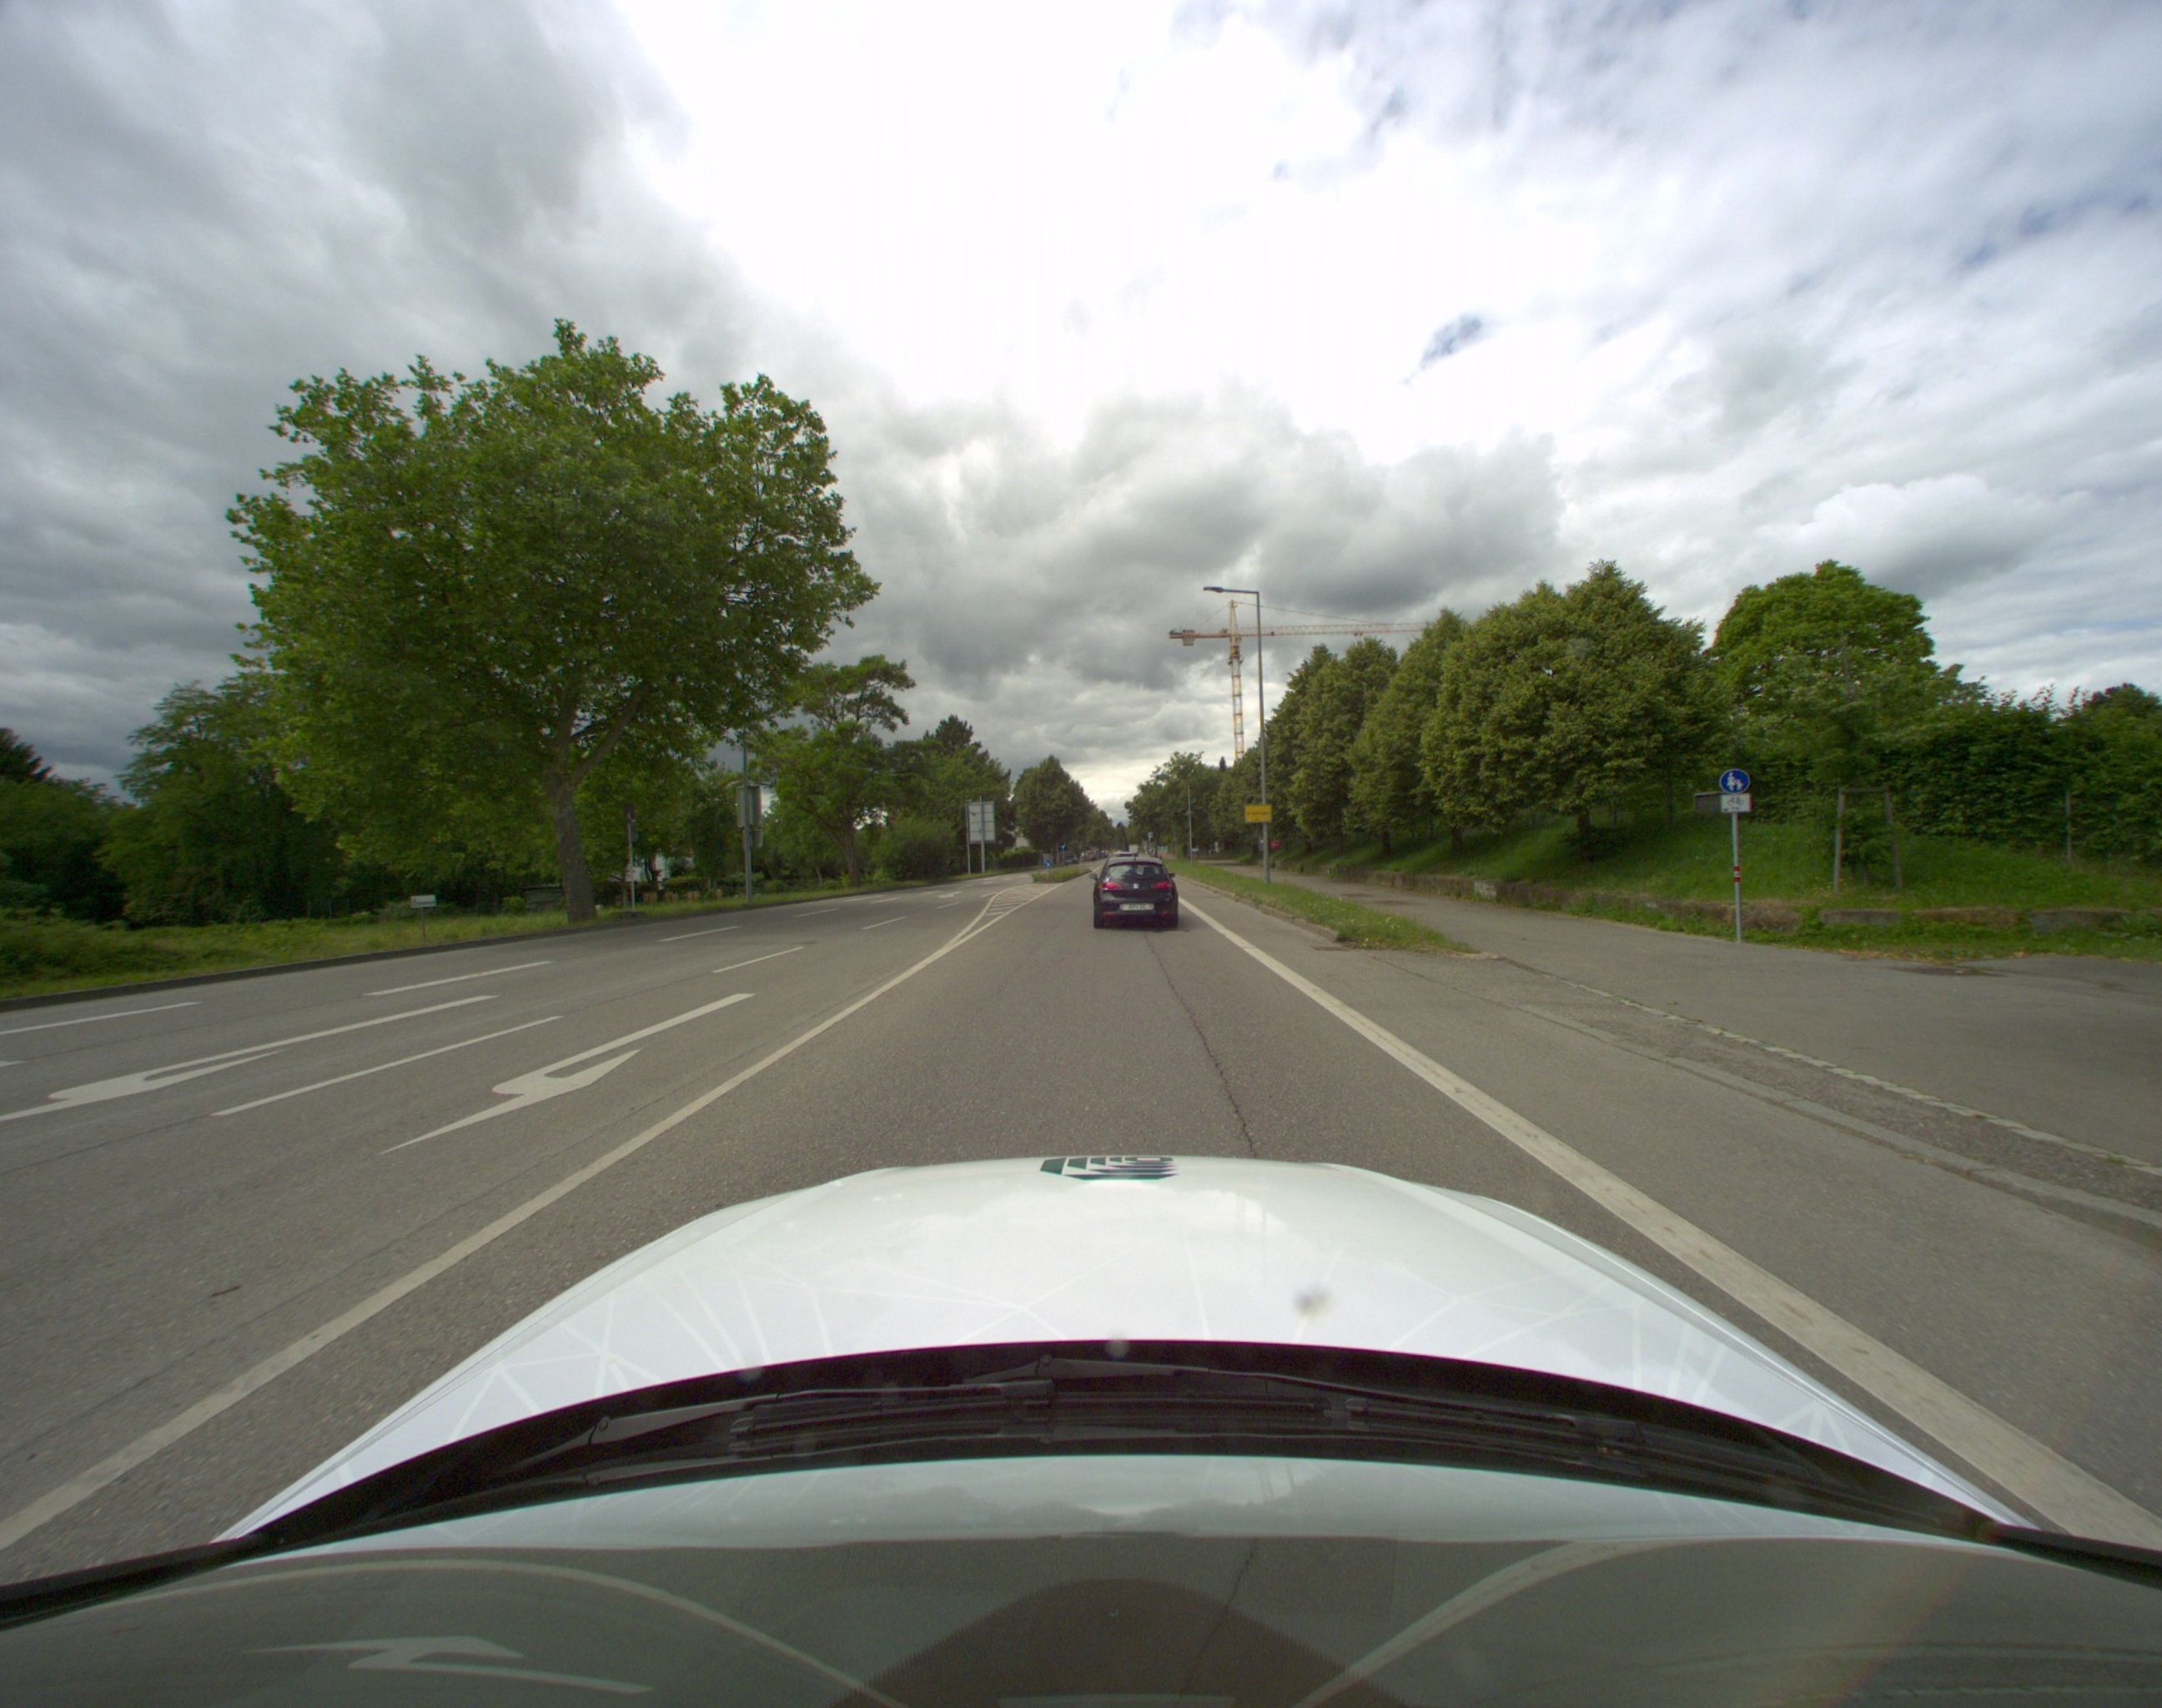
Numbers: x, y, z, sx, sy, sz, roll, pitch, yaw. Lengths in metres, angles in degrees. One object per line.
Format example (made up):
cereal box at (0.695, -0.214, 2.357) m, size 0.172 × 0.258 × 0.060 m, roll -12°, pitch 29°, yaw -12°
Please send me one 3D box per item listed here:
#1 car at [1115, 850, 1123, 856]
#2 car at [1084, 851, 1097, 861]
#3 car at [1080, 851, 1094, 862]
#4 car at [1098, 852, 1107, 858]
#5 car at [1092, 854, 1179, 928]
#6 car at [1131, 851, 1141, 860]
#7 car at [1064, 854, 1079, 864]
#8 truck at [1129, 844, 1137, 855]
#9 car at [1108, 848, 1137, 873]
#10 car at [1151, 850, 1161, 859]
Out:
car at (10.335, -0.264, 221.994) m, size 1.865 × 1.635 × 4.348 m, roll -4°, pitch 0°, yaw 6°
car at (1.811, 0.358, 156.031) m, size 2.090 × 1.896 × 5.790 m, roll -4°, pitch 0°, yaw 4°
car at (1.167, 0.414, 148.579) m, size 2.090 × 1.896 × 5.790 m, roll -4°, pitch 0°, yaw 4°
car at (5.473, 0.219, 205.734) m, size 2.090 × 1.506 × 5.790 m, roll -4°, pitch 0°, yaw 4°
car at (1.142, 0.718, 17.606) m, size 1.656 × 1.401 × 3.814 m, roll -1°, pitch 0°, yaw 3°
car at (10.717, 0.301, 157.959) m, size 1.873 × 1.689 × 4.218 m, roll -2°, pitch 0°, yaw 4°
car at (-1.389, 0.738, 119.349) m, size 1.710 × 1.395 × 4.806 m, roll -4°, pitch 0°, yaw 4°
truck at (14.872, -1.233, 234.263) m, size 2.269 × 3.104 × 8.518 m, roll 0°, pitch 0°, yaw 4°
car at (2.690, 0.424, 52.782) m, size 1.838 × 1.510 × 3.814 m, roll -1°, pitch 0°, yaw 3°
car at (13.124, 0.013, 142.356) m, size 1.680 × 1.490 × 3.359 m, roll -2°, pitch 0°, yaw 4°
